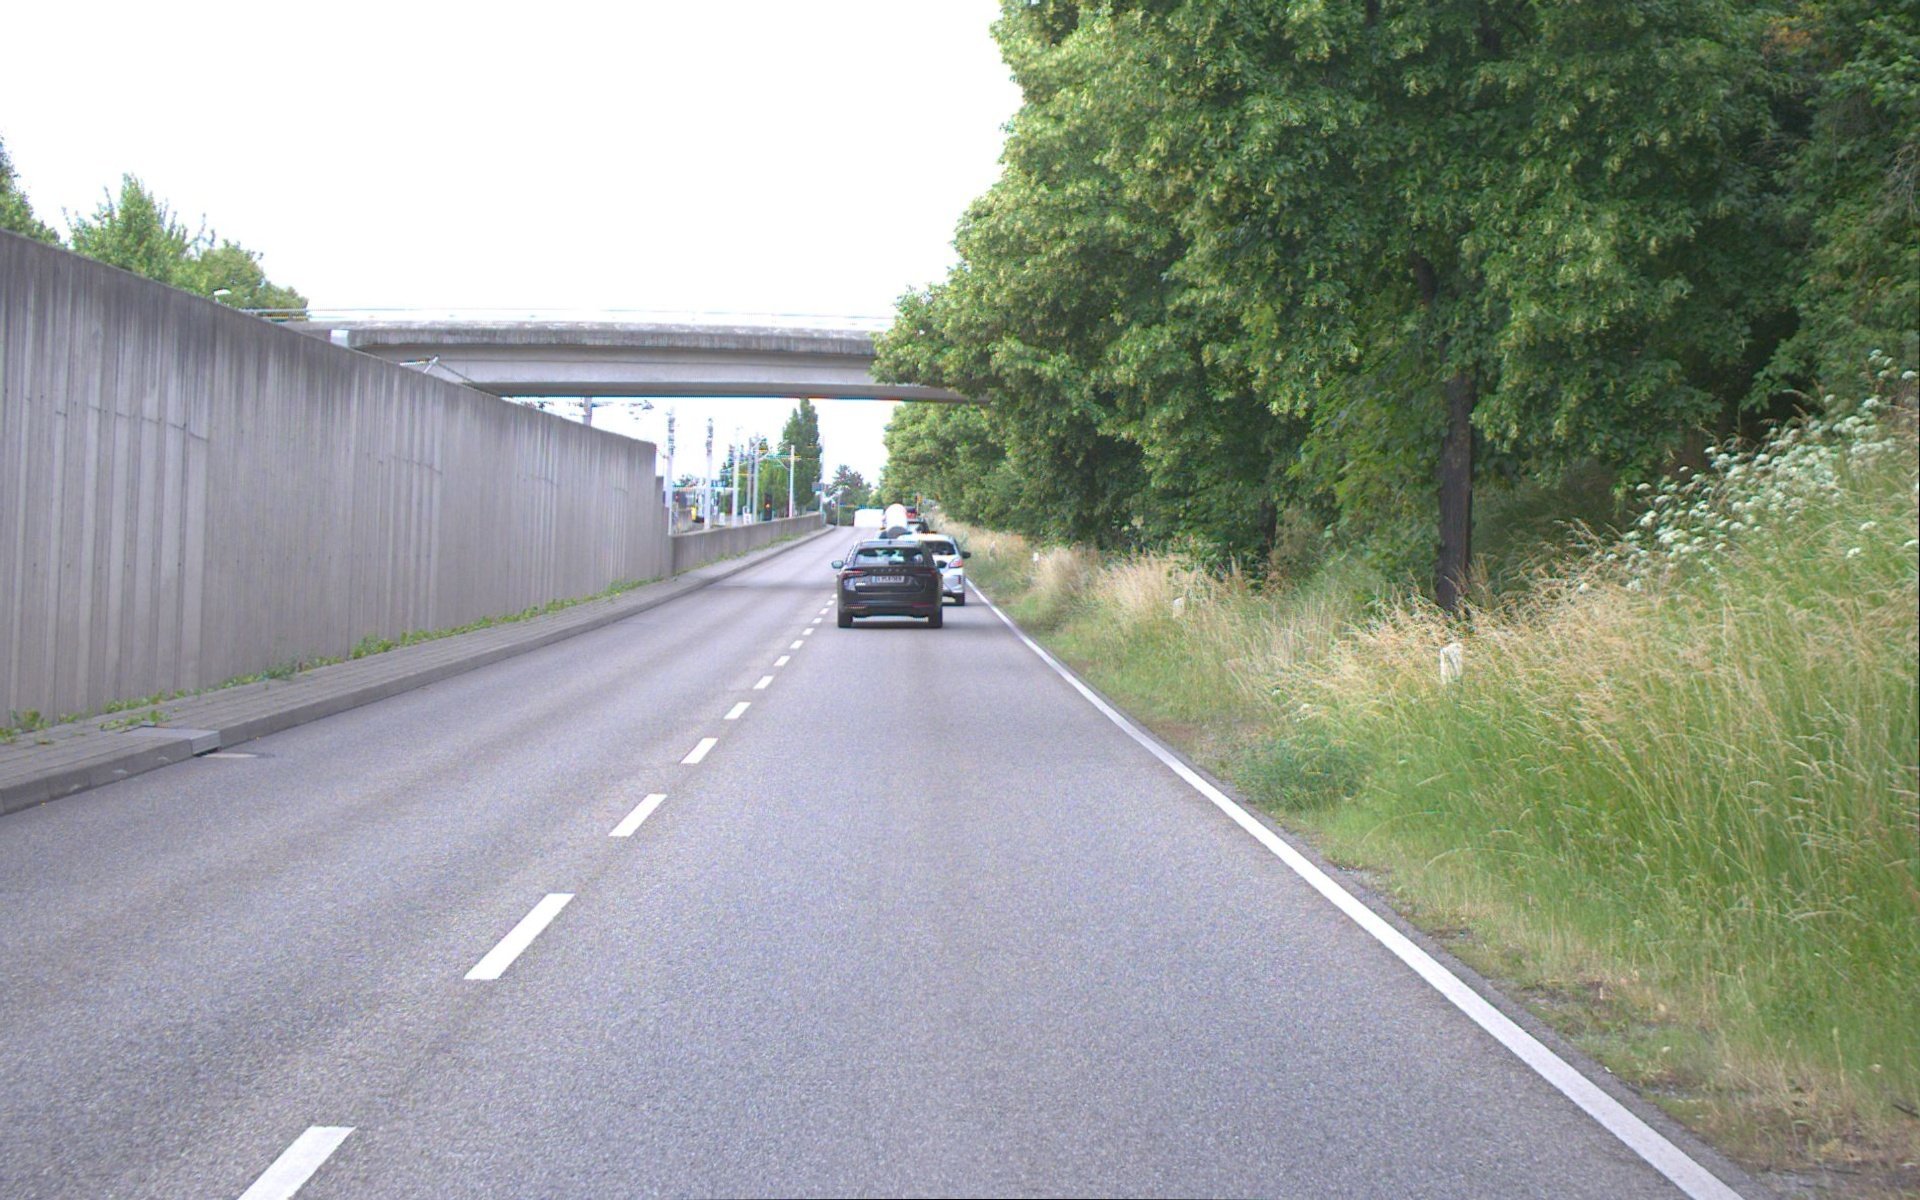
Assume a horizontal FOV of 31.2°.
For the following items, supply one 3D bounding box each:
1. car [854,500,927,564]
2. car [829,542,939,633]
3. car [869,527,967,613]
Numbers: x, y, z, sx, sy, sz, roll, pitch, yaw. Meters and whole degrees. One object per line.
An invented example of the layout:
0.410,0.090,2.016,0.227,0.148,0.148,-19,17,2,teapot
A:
-1.945,-1.890,96.957,1.993,1.734,4.000,1,0,-1,car
-1.271,-0.239,58.162,1.781,1.463,4.000,1,1,-1,car
-0.891,-0.651,72.490,1.993,1.747,4.000,1,1,-1,car
